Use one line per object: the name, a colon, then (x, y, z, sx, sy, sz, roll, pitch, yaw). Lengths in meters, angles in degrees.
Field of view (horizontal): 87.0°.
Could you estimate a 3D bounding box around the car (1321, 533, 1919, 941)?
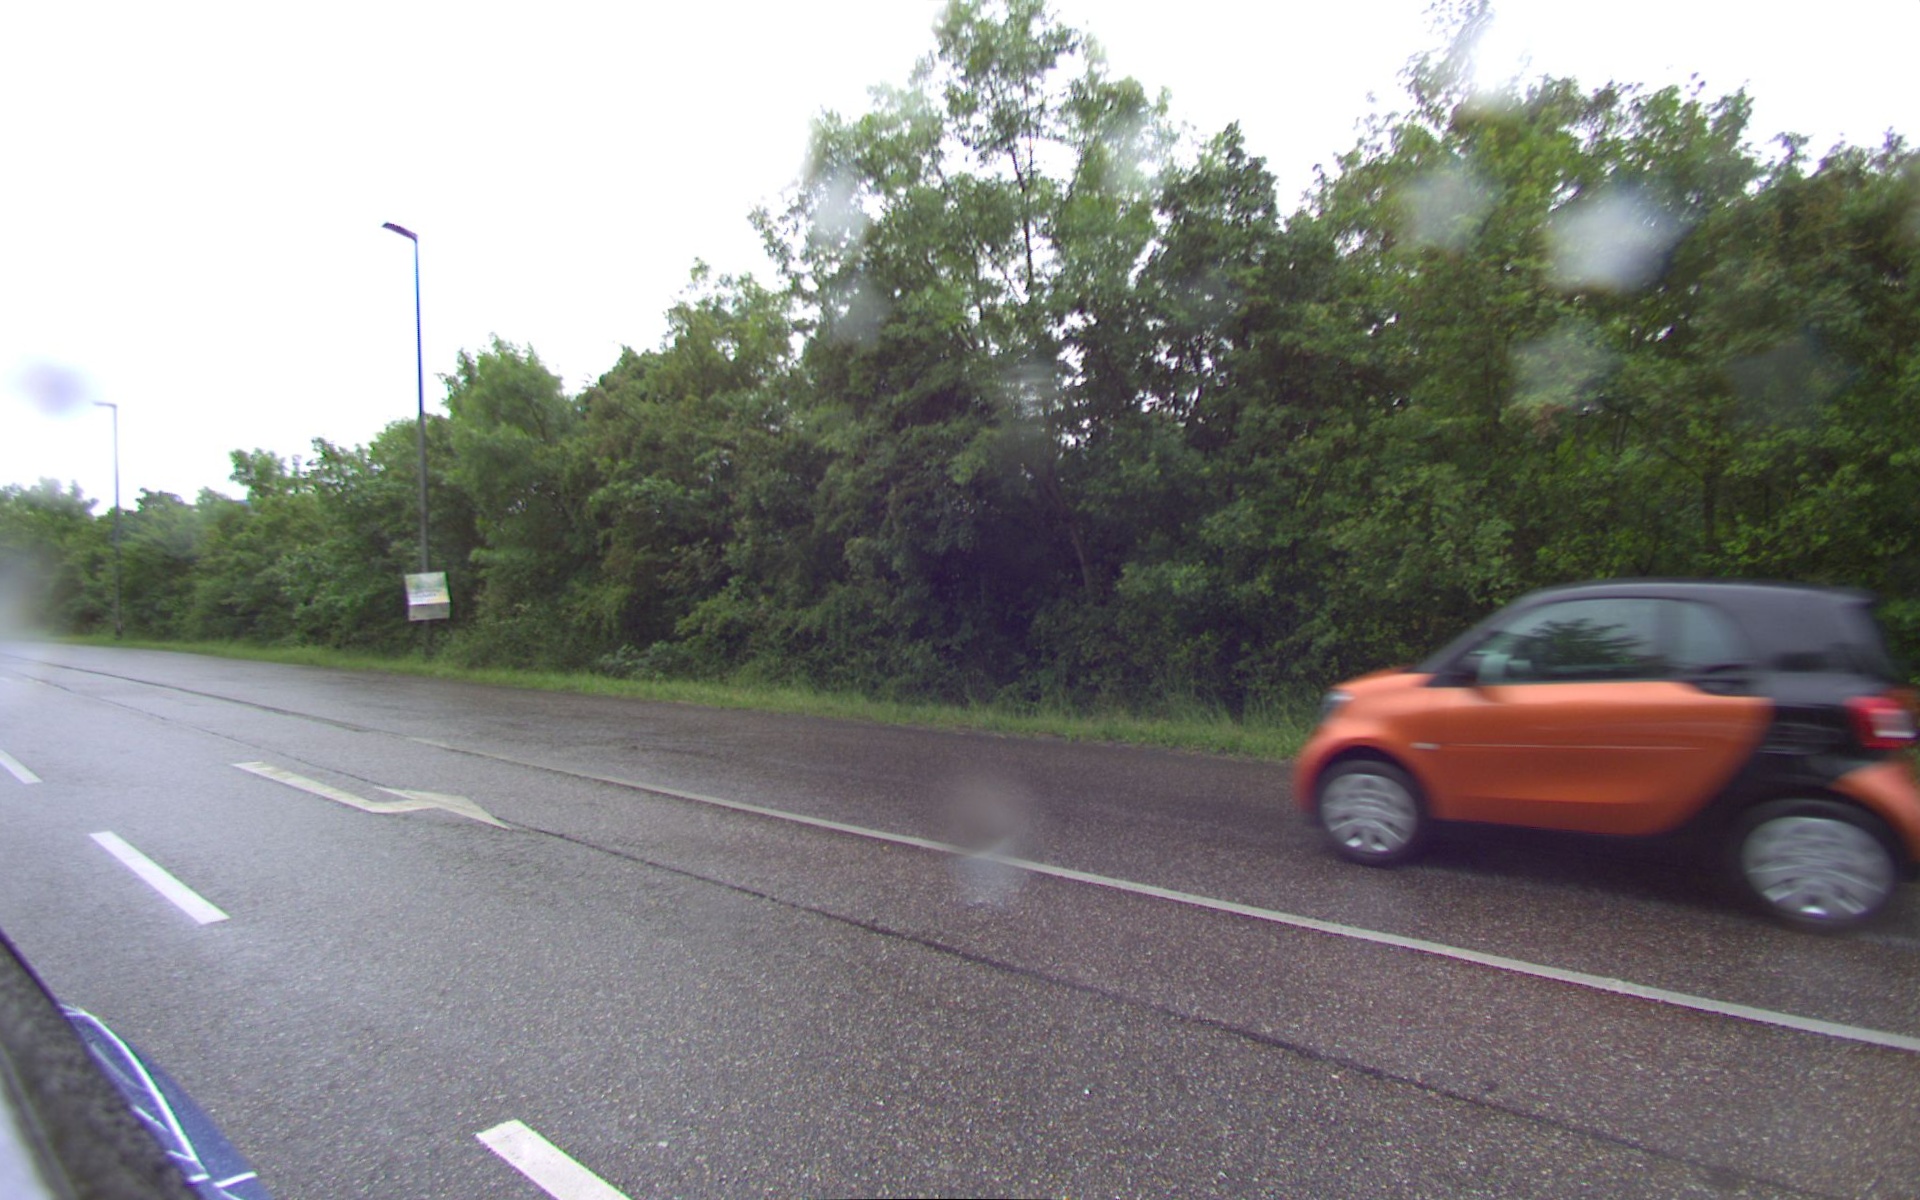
car: (4.117, 0.532, 4.962, 3.998, 1.597, 1.973, 0, 0, 41)
